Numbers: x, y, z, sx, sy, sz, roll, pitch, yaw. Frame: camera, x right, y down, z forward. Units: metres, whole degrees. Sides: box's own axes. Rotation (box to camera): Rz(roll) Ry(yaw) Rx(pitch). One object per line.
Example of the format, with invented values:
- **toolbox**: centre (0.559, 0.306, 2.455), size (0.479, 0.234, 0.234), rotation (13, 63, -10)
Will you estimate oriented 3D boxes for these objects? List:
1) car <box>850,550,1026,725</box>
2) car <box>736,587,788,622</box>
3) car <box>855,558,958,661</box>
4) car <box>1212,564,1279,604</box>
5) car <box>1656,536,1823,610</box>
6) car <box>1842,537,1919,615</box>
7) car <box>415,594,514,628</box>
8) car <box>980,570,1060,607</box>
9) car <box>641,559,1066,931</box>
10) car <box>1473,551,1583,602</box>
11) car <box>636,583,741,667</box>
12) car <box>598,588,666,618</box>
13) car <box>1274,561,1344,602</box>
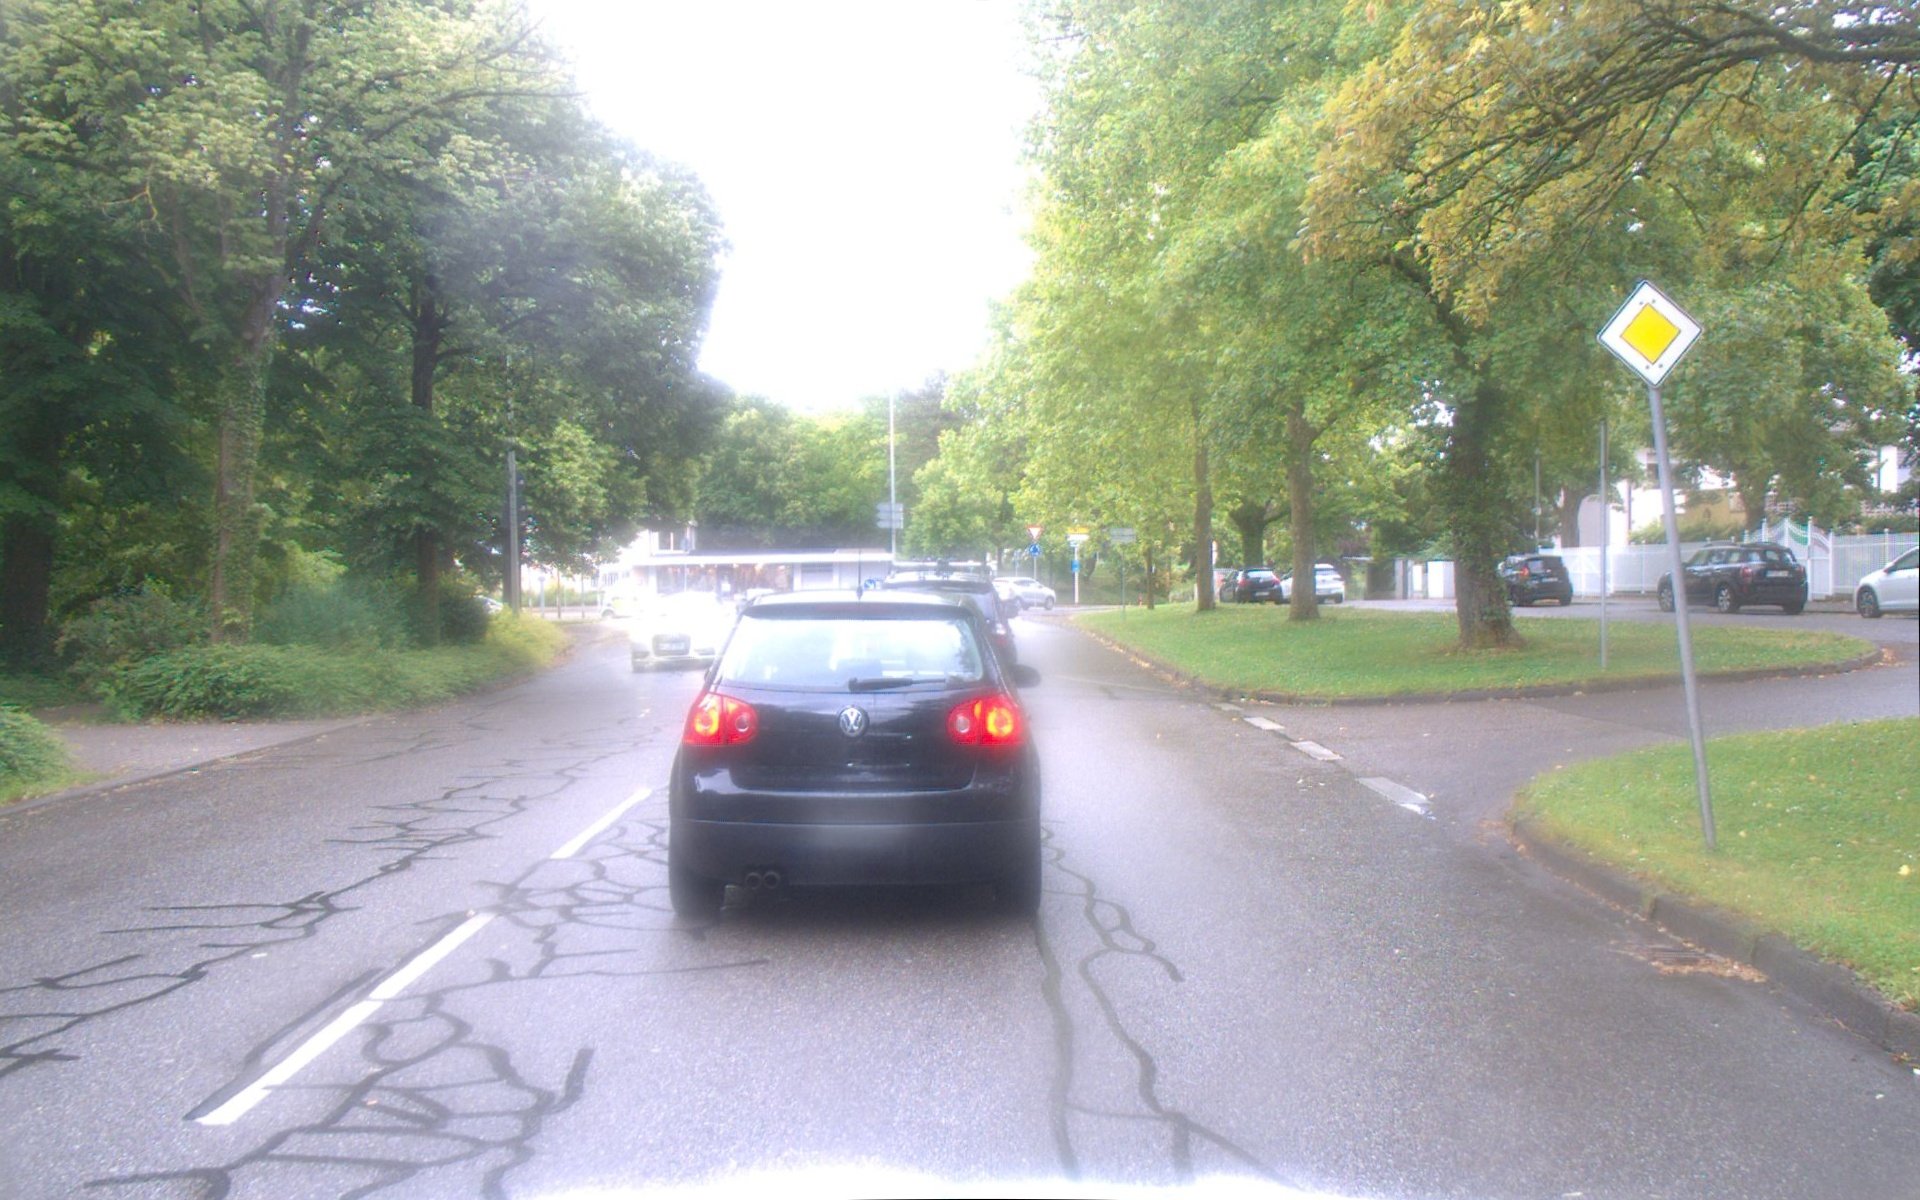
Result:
- **car**: centre (-0.232, 0.379, 19.468), size (1.817, 1.816, 4.000), rotation (-1, 0, 0)
- **car**: centre (-8.834, 0.177, 73.642), size (1.767, 1.417, 3.964), rotation (-3, 1, -14)
- **car**: centre (-0.975, 0.171, 31.823), size (1.817, 1.816, 4.000), rotation (-1, 0, 0)
- **car**: centre (10.889, -0.633, 63.325), size (1.767, 1.409, 4.000), rotation (-3, 1, 0)
- **car**: centre (18.080, -0.637, 38.560), size (1.766, 1.556, 4.110), rotation (-2, 1, -3)
- **car**: centre (18.652, -0.479, 31.200), size (1.585, 1.434, 4.006), rotation (-2, 1, -6)
- **car**: centre (-23.649, 0.508, 78.986), size (4.430, 1.444, 1.836), rotation (-2, 0, -20)
- **car**: centre (3.110, -0.594, 85.300), size (1.965, 1.735, 3.975), rotation (-2, 0, 42)
- **car**: centre (-0.439, 0.604, 8.747), size (1.762, 1.542, 3.753), rotation (0, 0, 0)
- **car**: centre (17.346, -0.744, 50.675), size (1.766, 1.436, 4.110), rotation (-2, 1, -3)
- **car**: centre (-5.334, 0.449, 32.906), size (1.576, 1.452, 4.006), rotation (-2, 1, -3)
- **car**: centre (-15.937, 0.147, 80.490), size (3.059, 1.333, 1.539), rotation (-2, 0, -5)
- **car**: centre (13.367, -0.710, 63.475), size (1.767, 1.430, 4.000), rotation (-3, 1, 0)
